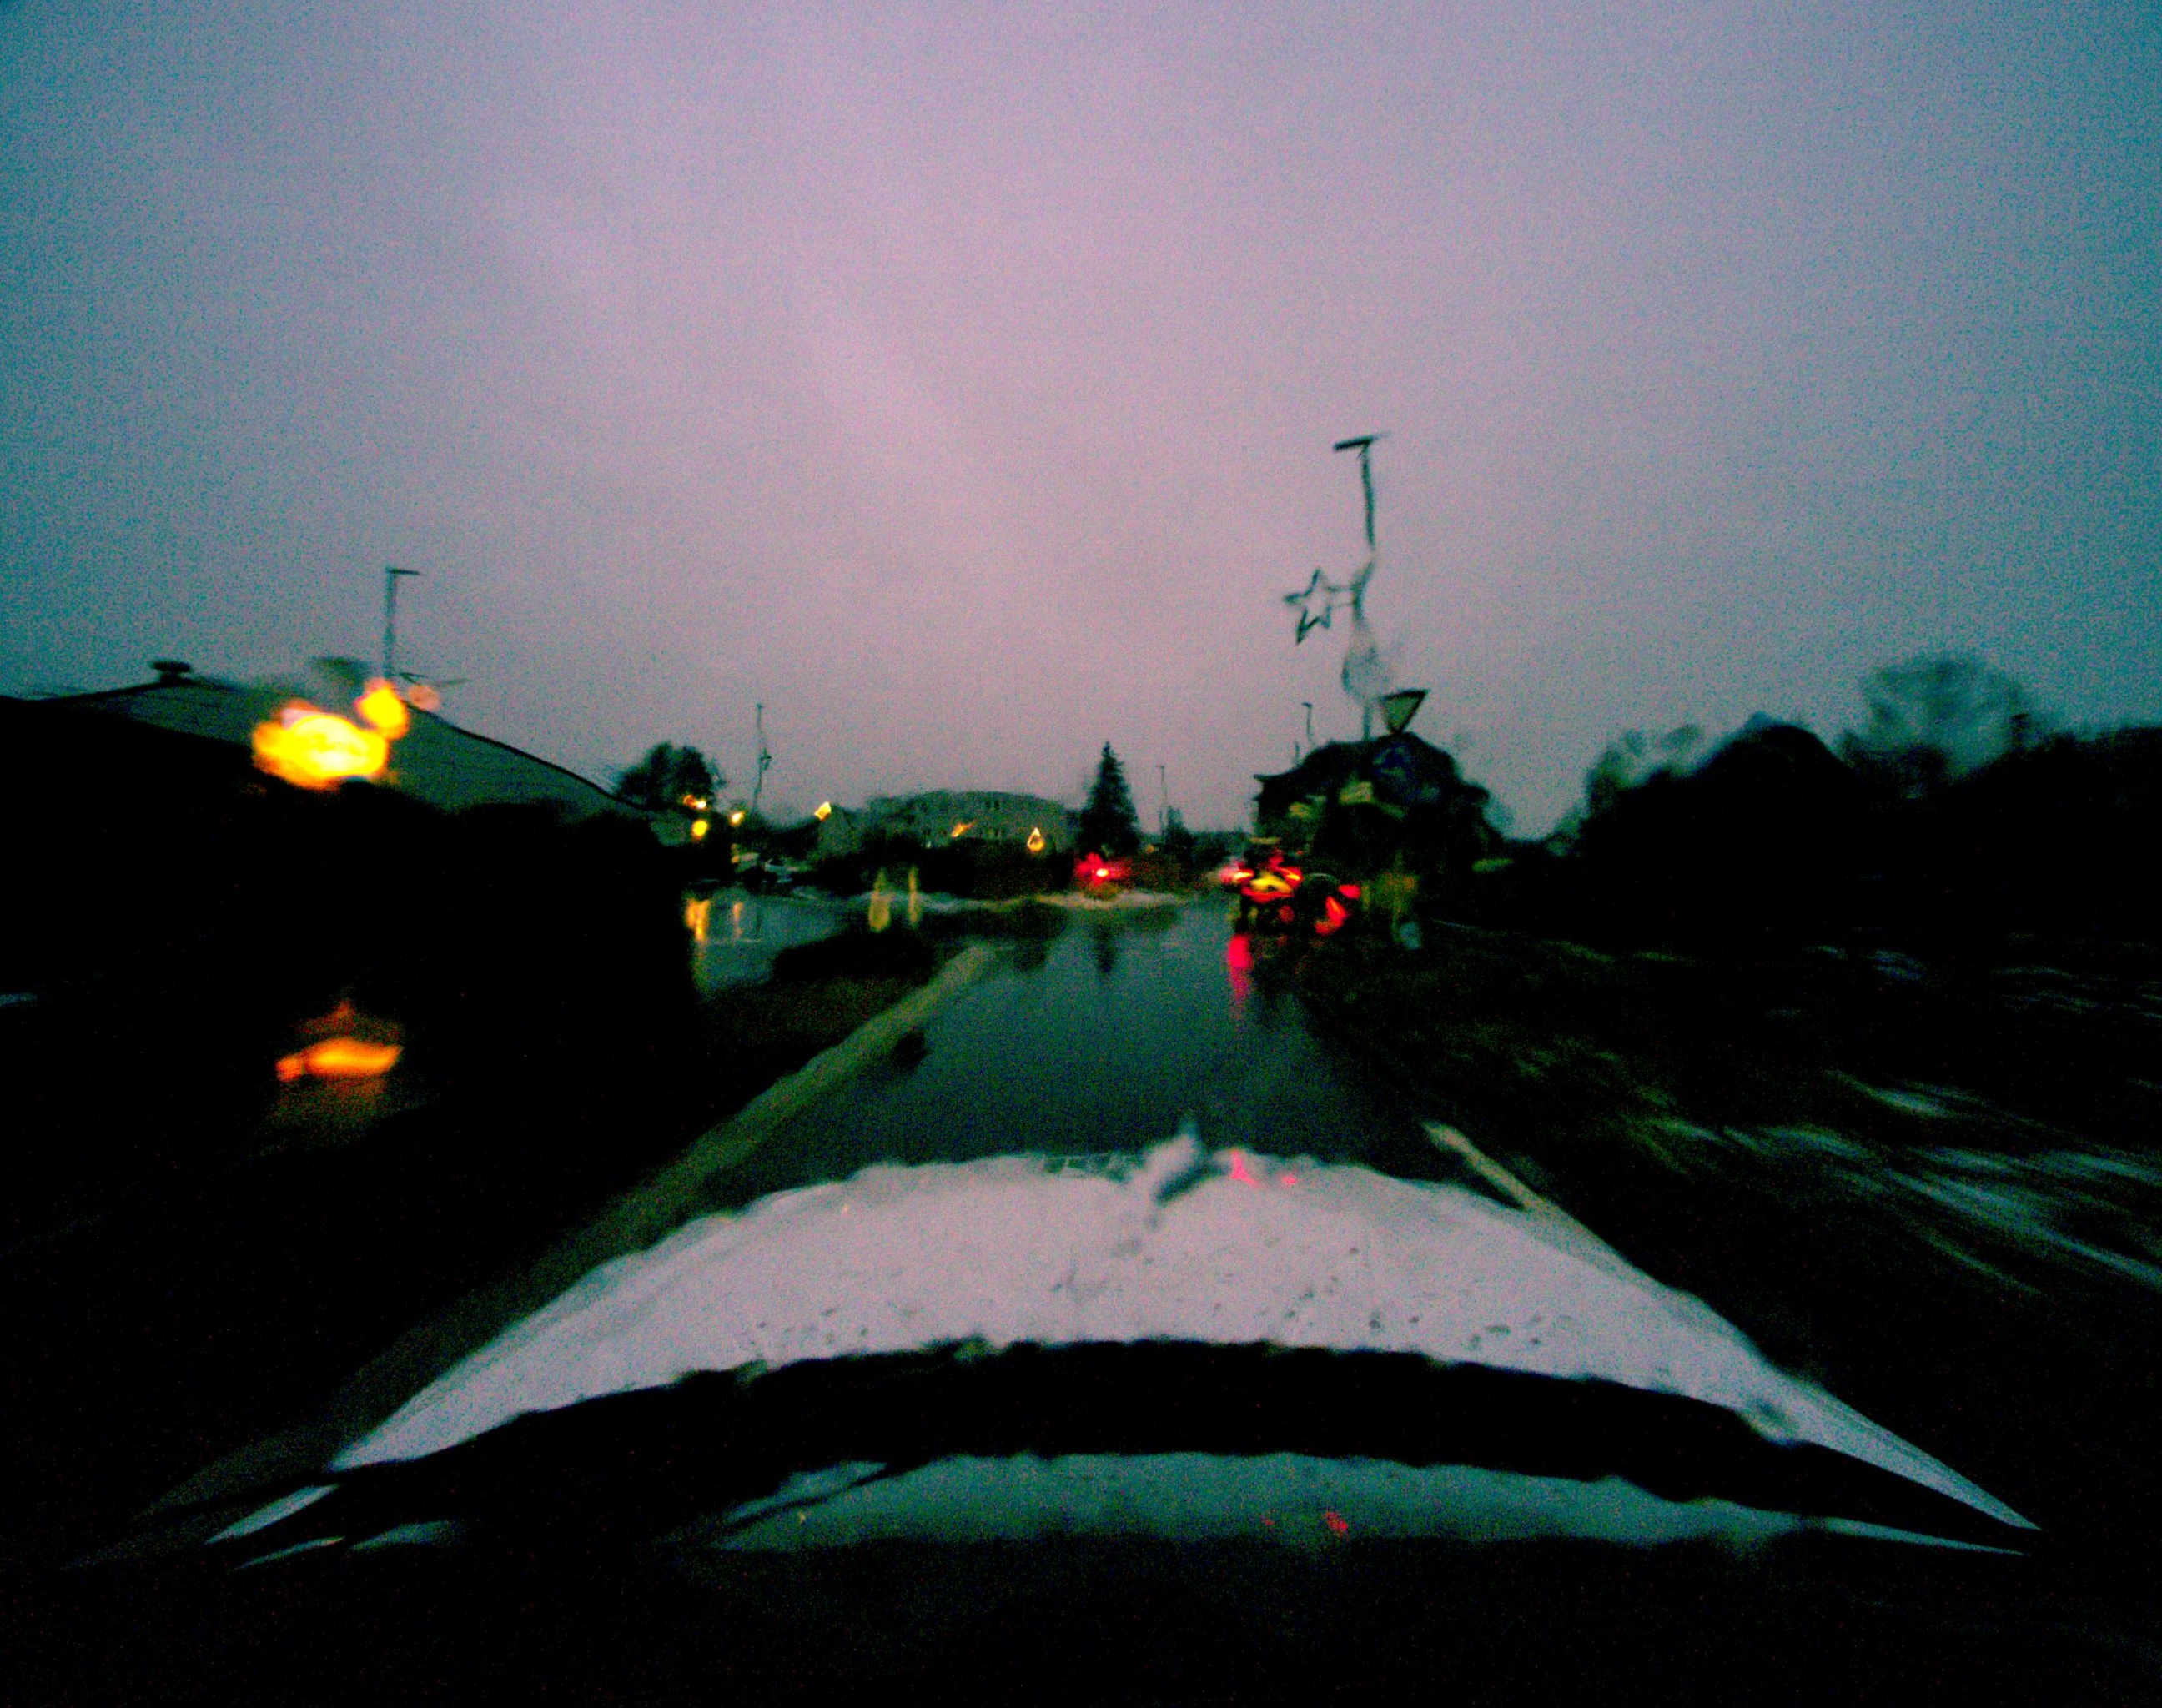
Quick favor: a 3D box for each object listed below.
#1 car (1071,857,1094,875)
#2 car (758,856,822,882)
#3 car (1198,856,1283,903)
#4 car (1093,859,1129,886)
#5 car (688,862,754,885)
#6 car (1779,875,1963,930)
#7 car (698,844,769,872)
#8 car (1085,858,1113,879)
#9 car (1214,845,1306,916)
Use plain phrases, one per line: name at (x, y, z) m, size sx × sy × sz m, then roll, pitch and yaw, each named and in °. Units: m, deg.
car at (0.108, 1.096, 71.987) m, size 1.769 × 1.544 × 3.995 m, roll 0°, pitch -1°, yaw -3°
car at (-19.954, 1.023, 55.851) m, size 4.226 × 1.561 × 2.077 m, roll 1°, pitch -2°, yaw 37°
car at (6.367, 0.960, 33.092) m, size 2.161 × 1.689 × 4.562 m, roll 0°, pitch 1°, yaw -6°
car at (1.816, 1.194, 50.644) m, size 1.878 × 1.615 × 4.566 m, roll 0°, pitch -2°, yaw -2°
car at (-23.181, 1.244, 52.409) m, size 3.949 × 1.311 × 1.853 m, roll 2°, pitch -2°, yaw 31°
car at (32.630, 1.963, 33.810) m, size 1.946 × 1.919 × 5.191 m, roll 3°, pitch -1°, yaw -35°
car at (-29.855, 0.357, 70.187) m, size 2.008 × 2.134 × 5.454 m, roll 1°, pitch -2°, yaw 27°
car at (1.302, 1.109, 60.964) m, size 1.878 × 1.548 × 4.566 m, roll 0°, pitch -2°, yaw -2°
car at (4.747, 0.656, 22.111) m, size 1.935 × 1.718 × 4.006 m, roll 1°, pitch 0°, yaw 5°
